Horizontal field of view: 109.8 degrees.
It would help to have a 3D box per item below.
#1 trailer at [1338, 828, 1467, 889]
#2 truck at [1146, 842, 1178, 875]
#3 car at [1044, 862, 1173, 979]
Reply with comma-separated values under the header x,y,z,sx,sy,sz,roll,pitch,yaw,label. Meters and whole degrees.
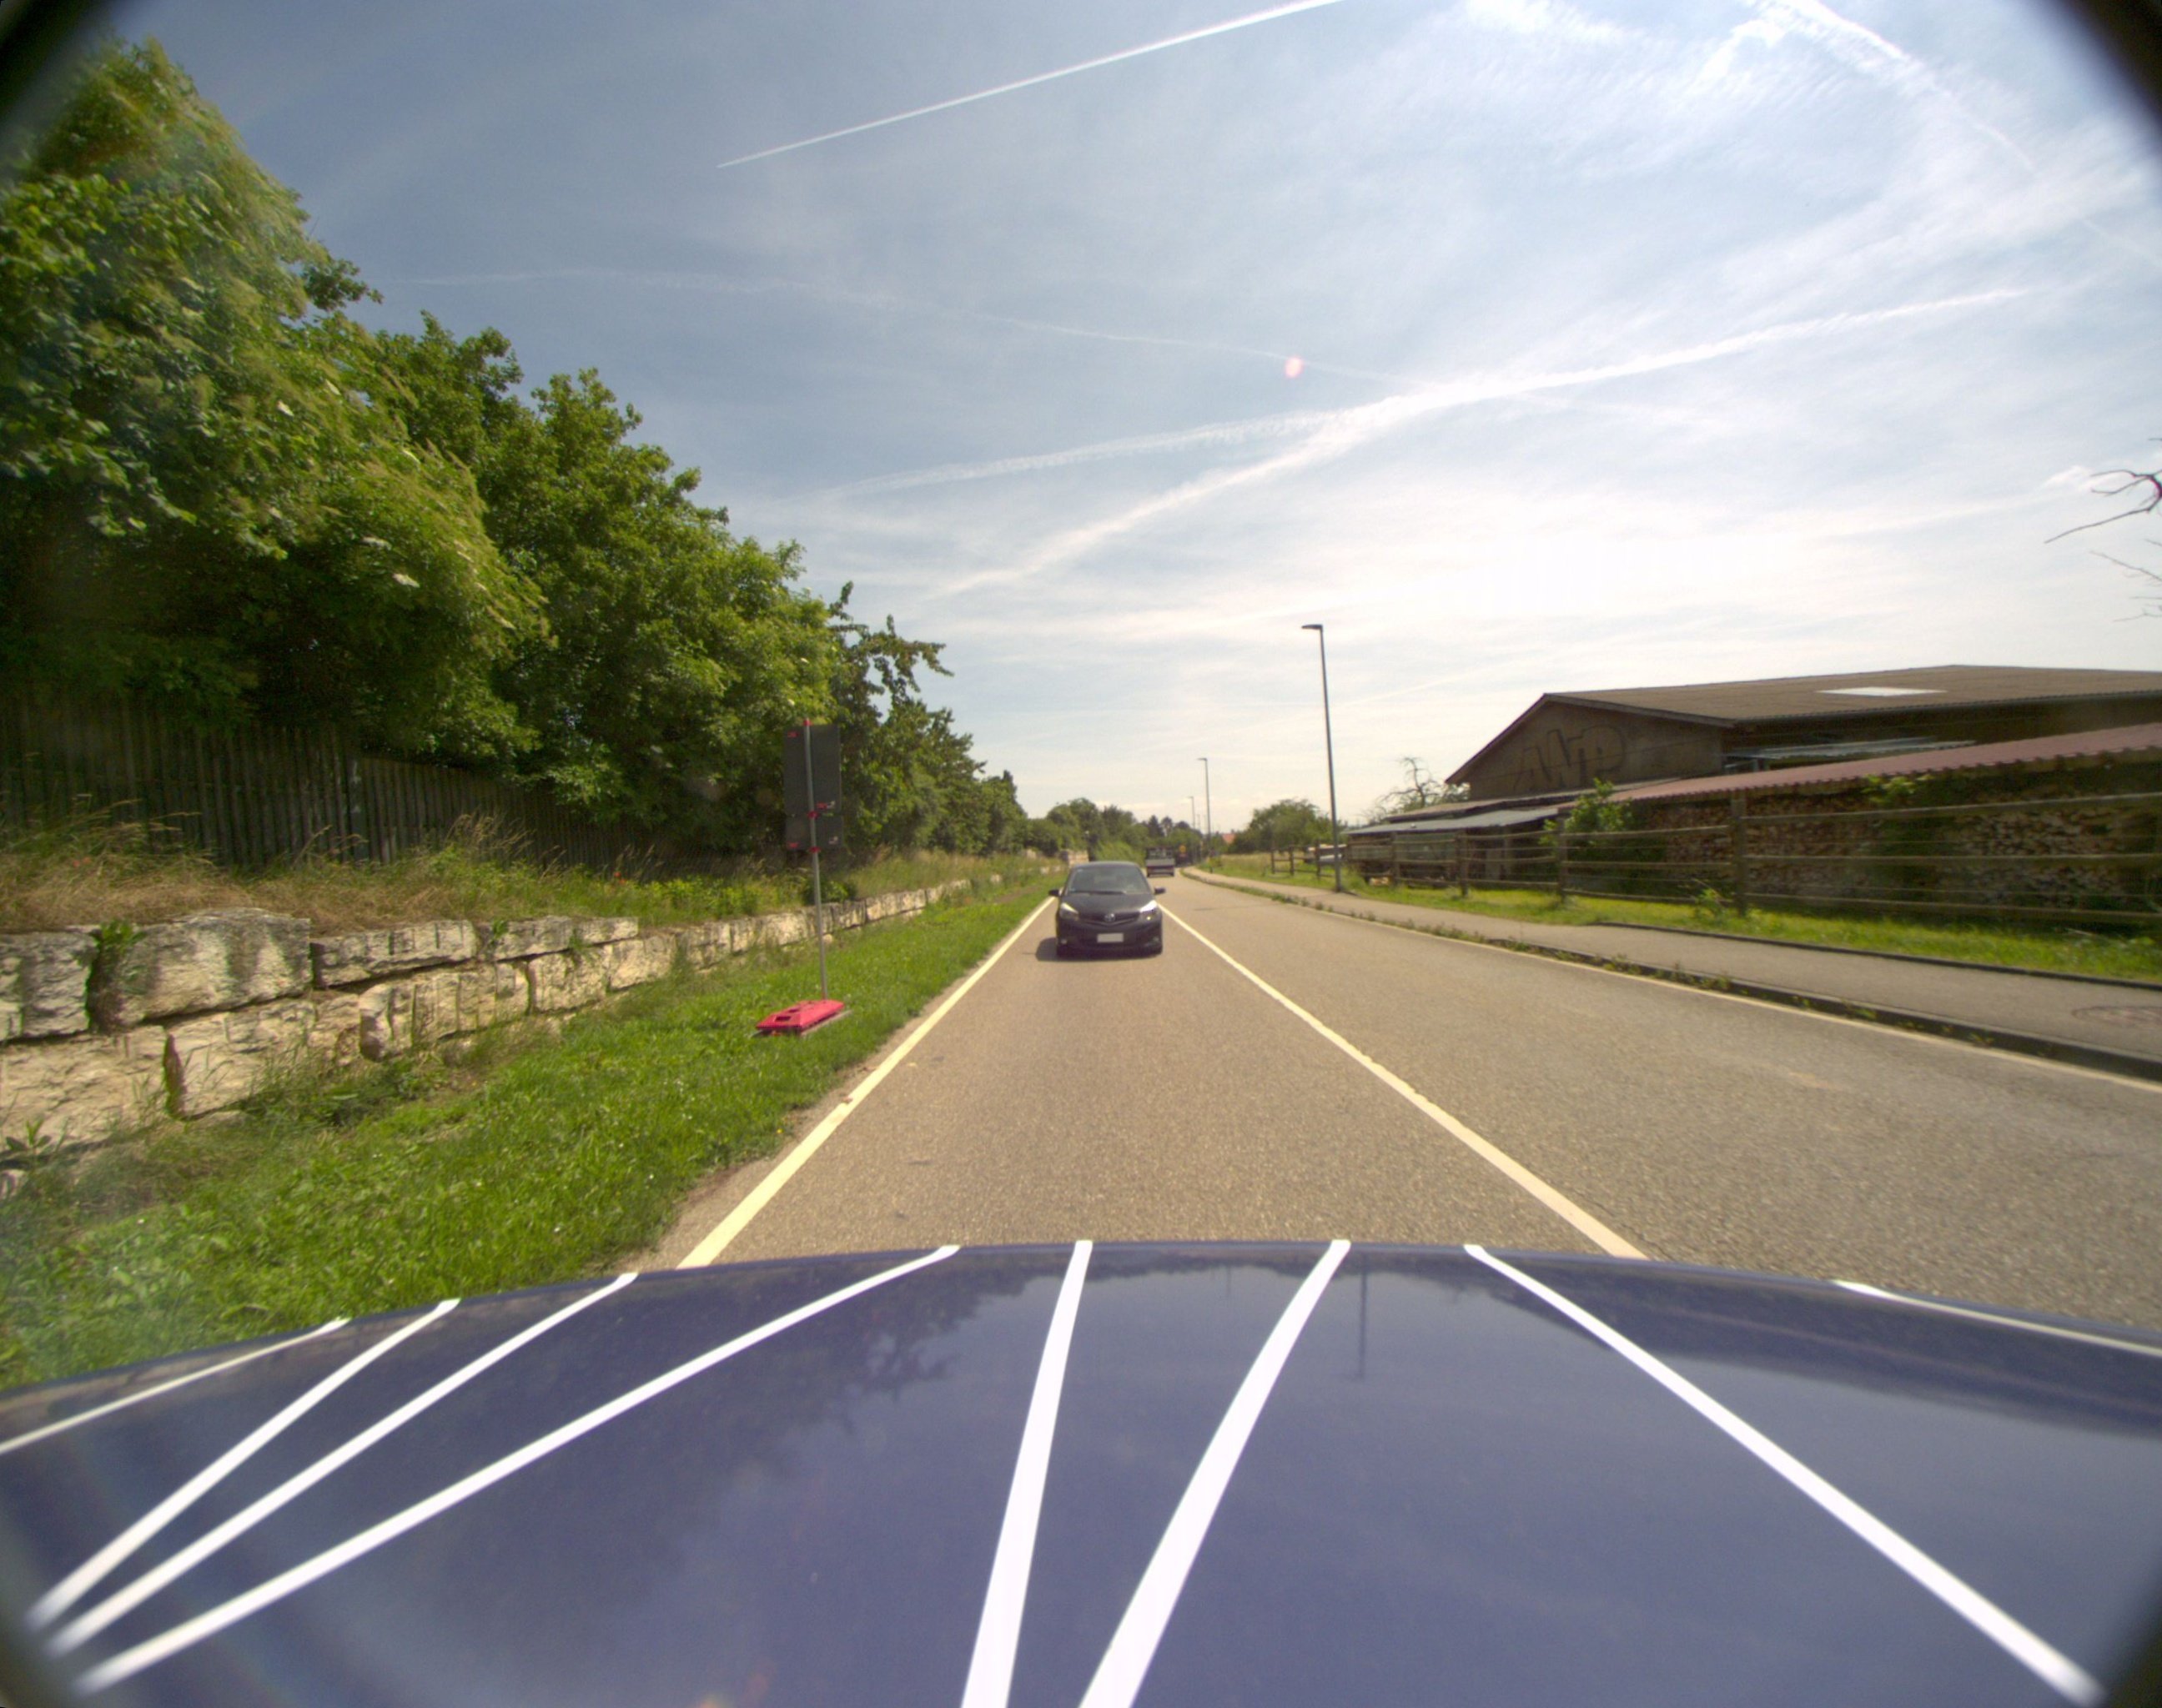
x,y,z,sx,sy,sz,roll,pitch,yaw,label
10.373,0.125,24.992,2.160,1.693,5.029,-2,0,1,trailer
6.152,0.320,57.745,2.227,2.280,6.494,-2,0,6,truck
0.440,0.929,12.442,1.677,1.456,4.433,-2,0,2,car
